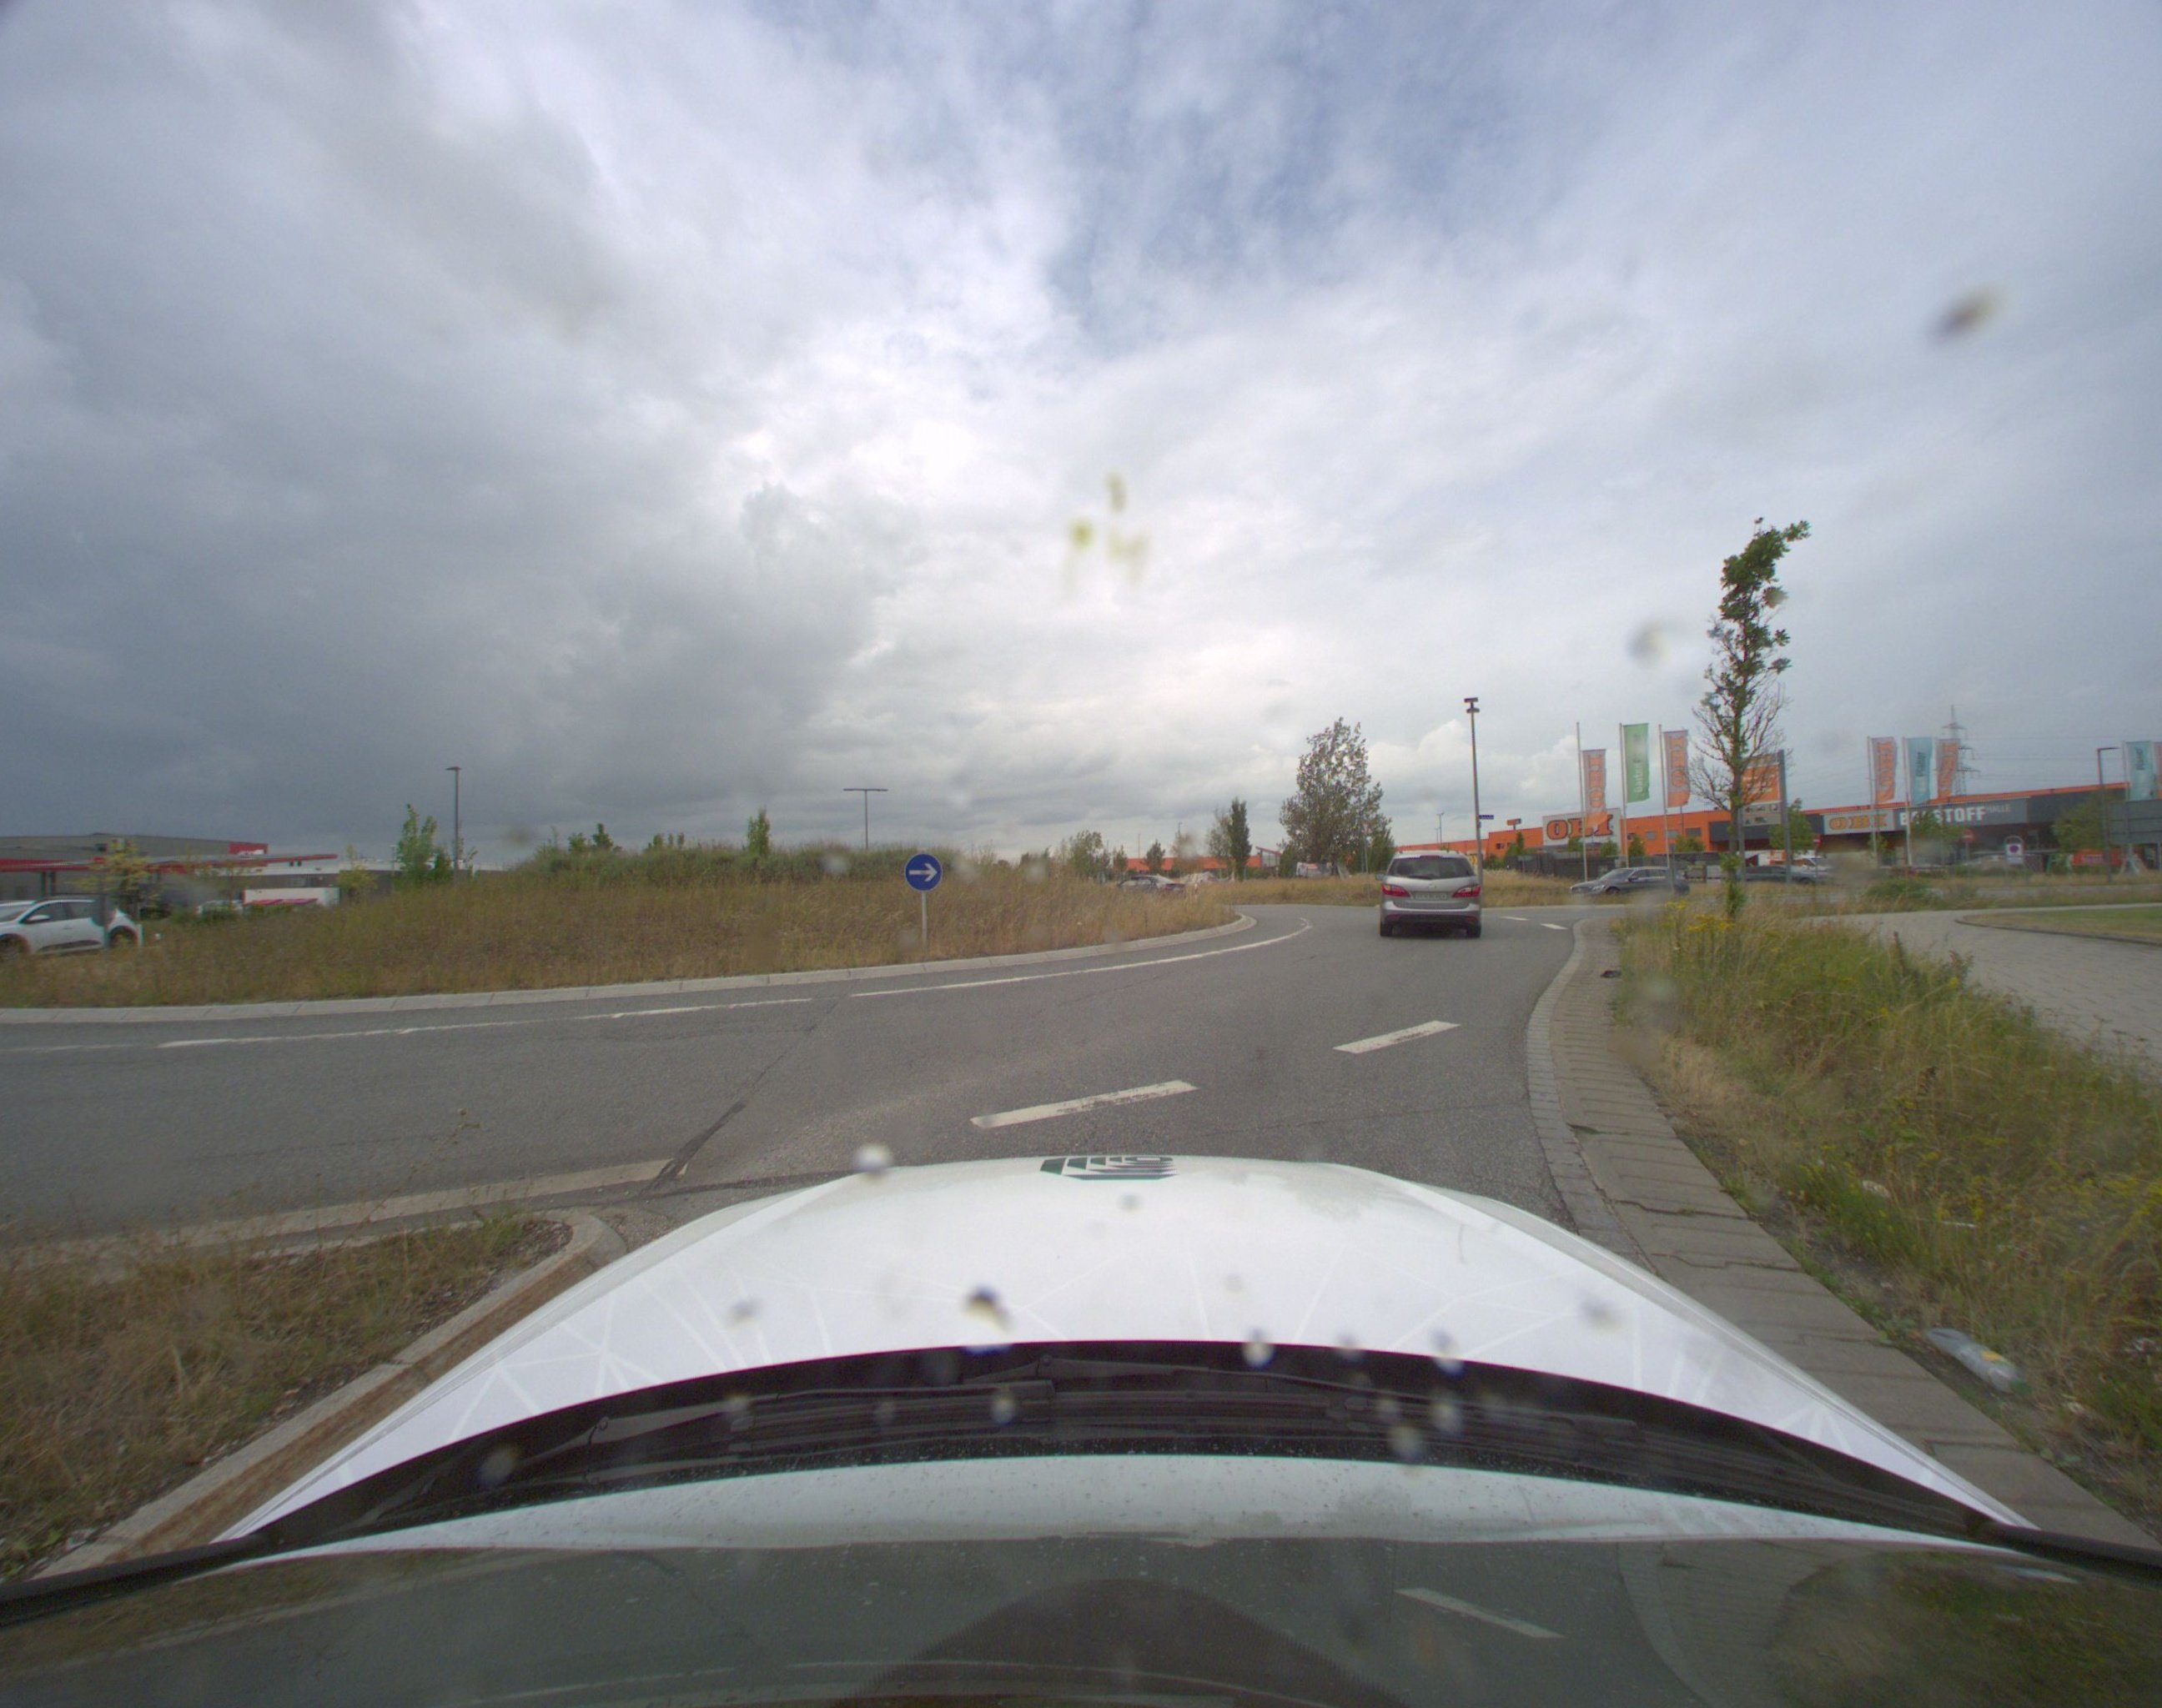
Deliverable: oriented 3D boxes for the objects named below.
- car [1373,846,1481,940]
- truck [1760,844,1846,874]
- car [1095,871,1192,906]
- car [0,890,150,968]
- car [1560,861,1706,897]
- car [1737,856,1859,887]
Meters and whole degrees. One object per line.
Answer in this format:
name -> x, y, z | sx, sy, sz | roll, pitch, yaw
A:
car -> 6.731, 0.665, 15.980 | 1.723, 1.598, 4.019 | 0, 0, 22
truck -> 67.856, 0.506, 76.638 | 2.438, 2.484, 5.517 | 1, -4, -17
car -> 2.666, 1.445, 35.227 | 3.947, 1.403, 1.754 | -1, 0, 43
car -> -23.700, 1.669, 18.153 | 1.729, 1.558, 4.069 | -3, -1, -12
car -> 22.083, 1.019, 32.707 | 4.663, 1.404, 1.926 | 0, -2, -4
car -> 39.634, 1.016, 45.160 | 2.002, 1.507, 4.645 | 1, -4, -23
